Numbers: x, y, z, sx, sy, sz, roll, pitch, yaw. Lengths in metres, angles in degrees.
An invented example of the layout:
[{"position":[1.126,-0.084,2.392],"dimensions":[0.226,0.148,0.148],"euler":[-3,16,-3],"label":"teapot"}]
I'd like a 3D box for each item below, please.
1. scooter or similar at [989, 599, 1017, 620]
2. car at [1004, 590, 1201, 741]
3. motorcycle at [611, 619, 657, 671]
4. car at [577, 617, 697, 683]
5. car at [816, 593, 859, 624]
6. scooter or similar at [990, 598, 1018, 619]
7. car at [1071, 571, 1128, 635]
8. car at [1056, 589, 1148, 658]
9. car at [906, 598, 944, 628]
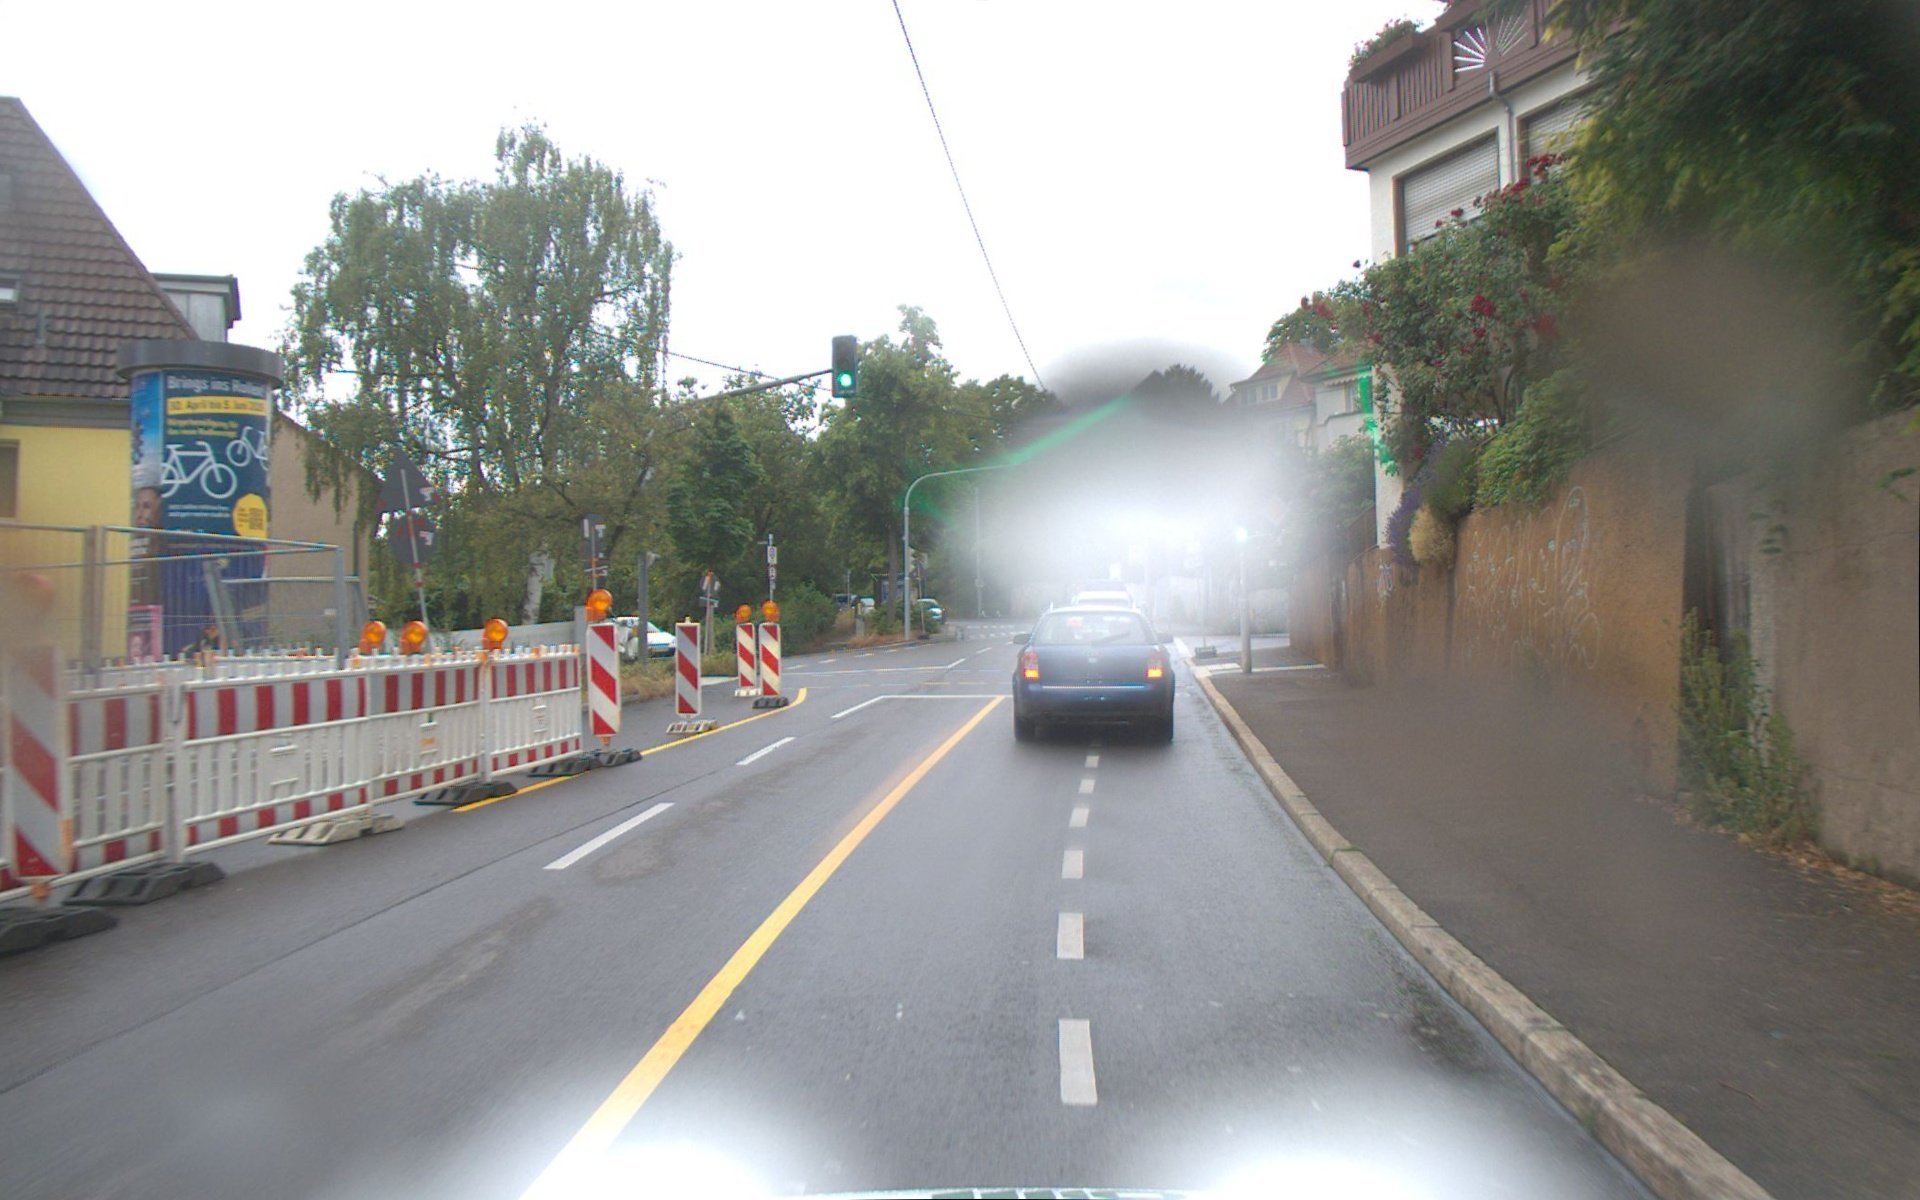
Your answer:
[{"position":[2.960,0.685,114.497],"dimensions":[1.799,1.338,0.599],"euler":[3,-4,-6],"label":"scooter or similar"},{"position":[1.713,0.657,18.612],"dimensions":[1.739,1.464,4.004],"euler":[-1,1,11],"label":"car"},{"position":[-7.726,1.049,39.252],"dimensions":[0.578,1.150,1.844],"euler":[-3,0,3],"label":"motorcycle"},{"position":[-8.986,1.411,45.829],"dimensions":[1.671,1.535,3.959],"euler":[-4,-1,-36],"label":"car"},{"position":[-7.805,0.546,104.892],"dimensions":[1.809,1.875,3.882],"euler":[-3,0,-18],"label":"car"},{"position":[3.013,0.566,113.483],"dimensions":[1.799,1.338,0.599],"euler":[3,-4,-6],"label":"scooter or similar"},{"position":[4.528,0.089,53.544],"dimensions":[1.694,1.927,4.058],"euler":[-3,0,5],"label":"car"},{"position":[3.228,0.541,36.938],"dimensions":[1.868,1.413,4.353],"euler":[1,-1,7],"label":"car"},{"position":[-1.890,0.681,88.410],"dimensions":[1.642,1.451,3.994],"euler":[-3,0,-6],"label":"car"}]
